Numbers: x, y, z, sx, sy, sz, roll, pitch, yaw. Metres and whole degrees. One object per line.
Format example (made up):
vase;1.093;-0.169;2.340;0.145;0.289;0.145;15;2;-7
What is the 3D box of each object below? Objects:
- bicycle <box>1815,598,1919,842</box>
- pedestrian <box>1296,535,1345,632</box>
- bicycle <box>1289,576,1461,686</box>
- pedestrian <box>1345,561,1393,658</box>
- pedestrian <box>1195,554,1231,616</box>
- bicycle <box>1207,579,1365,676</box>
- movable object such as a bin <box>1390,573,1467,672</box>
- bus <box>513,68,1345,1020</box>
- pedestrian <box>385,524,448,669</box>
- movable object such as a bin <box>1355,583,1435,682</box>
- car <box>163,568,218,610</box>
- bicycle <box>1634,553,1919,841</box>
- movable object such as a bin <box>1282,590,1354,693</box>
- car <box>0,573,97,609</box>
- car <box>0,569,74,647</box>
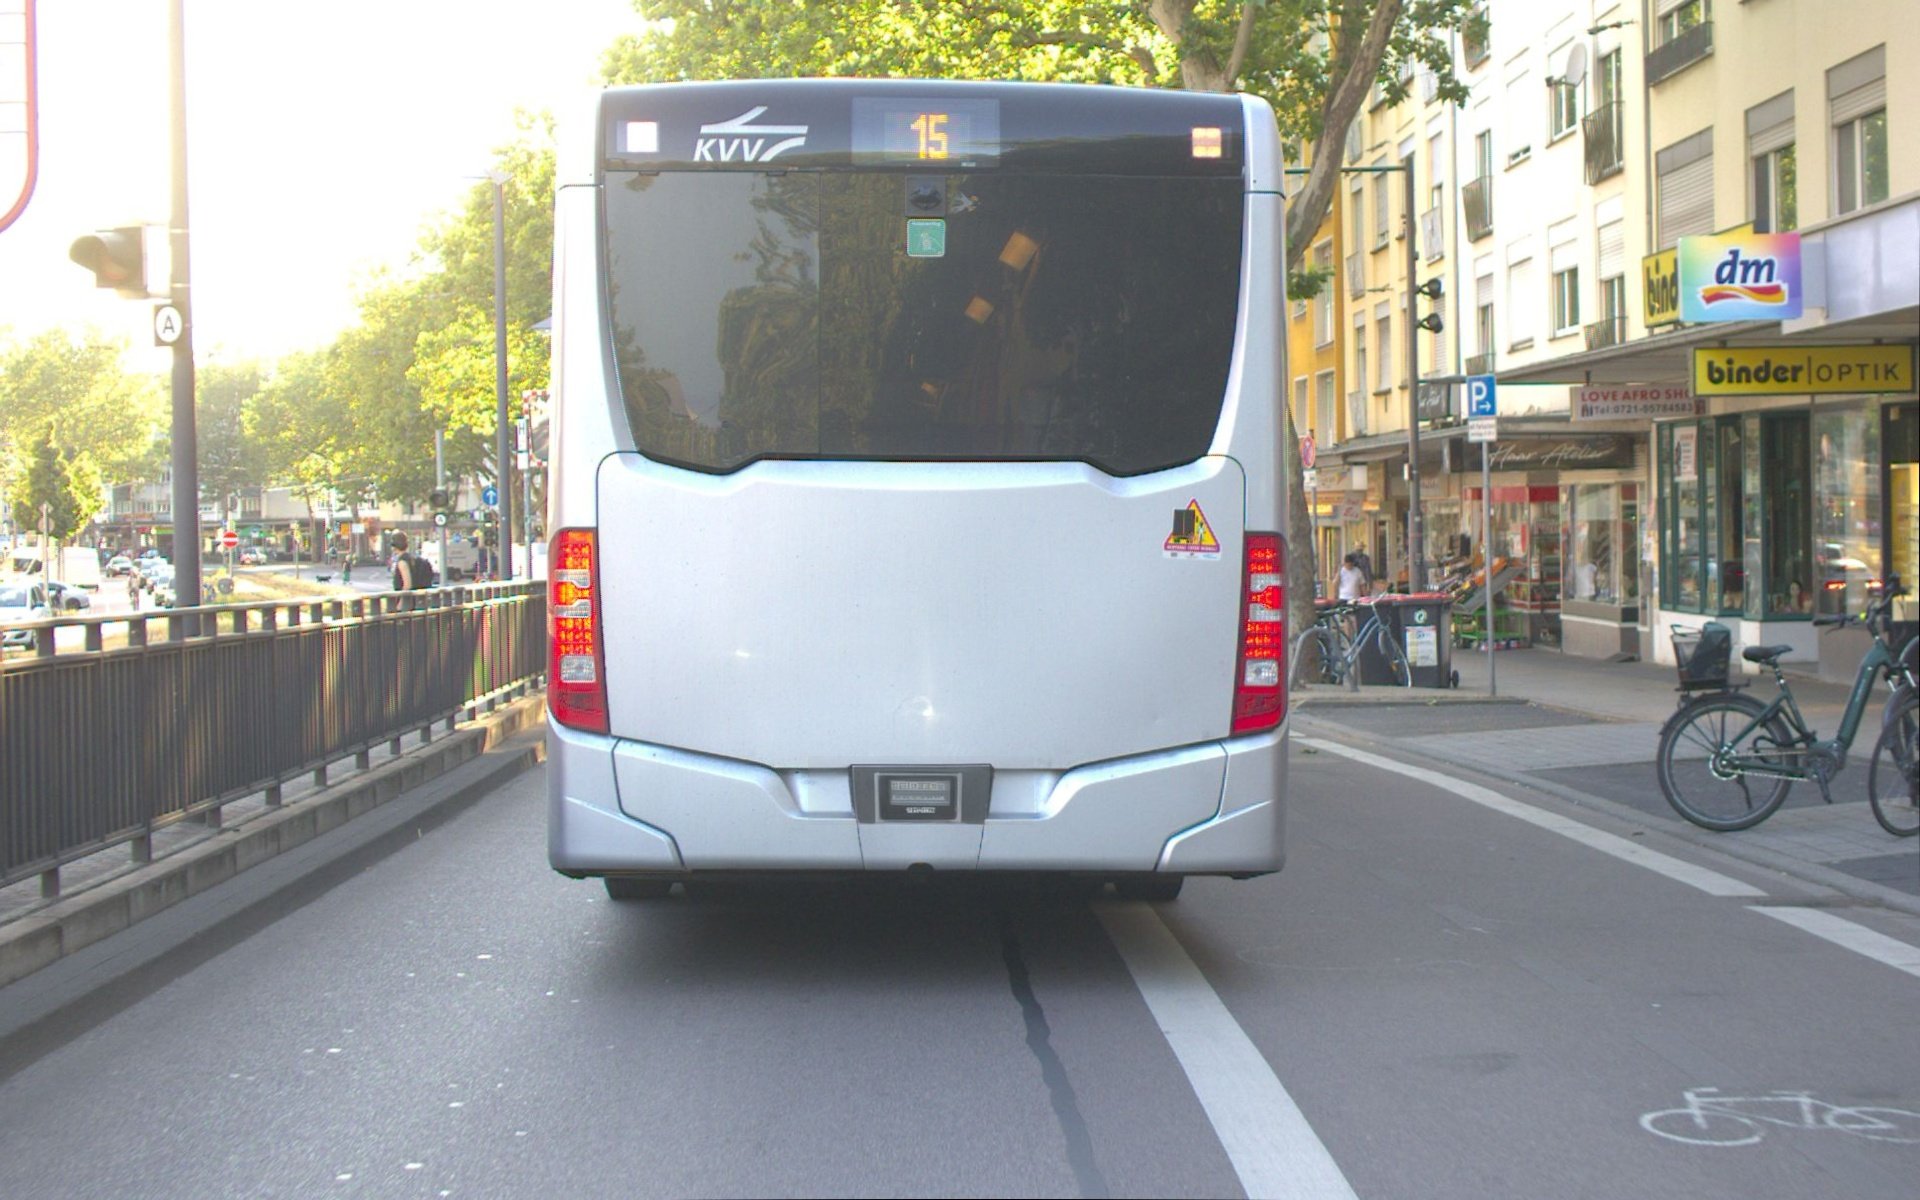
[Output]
bicycle;5.198;0.516;17.043;1.787;1.121;0.664;-6;1;-28
pedestrian;6.032;-0.285;57.560;0.635;1.581;0.627;-3;1;-3
bicycle;4.456;0.338;36.981;1.717;1.114;0.745;-1;-3;-1
pedestrian;6.852;0.149;57.622;0.622;1.581;0.627;-3;1;-3
pedestrian;5.283;-0.312;71.761;0.583;1.270;0.759;1;0;-8
bicycle;4.075;0.344;43.025;1.907;1.101;0.518;-3;1;5
movable object such as a bin;5.268;0.253;38.631;0.723;1.068;0.643;-3;0;17
bus;-0.305;-0.253;14.791;2.677;3.073;7.115;-1;1;-3
pedestrian;-7.014;-0.047;44.369;0.741;1.842;0.590;-1;1;-7
movable object such as a bin;4.935;0.364;39.034;0.722;1.068;0.644;-4;0;-3
car;-30.086;-0.440;134.552;1.722;1.504;3.477;-4;1;-8
bicycle;4.472;0.479;17.802;1.787;1.307;0.693;-6;1;11
movable object such as a bin;4.051;0.467;38.938;0.722;1.098;0.644;-5;0;5
car;-37.874;-0.367;140.674;4.540;1.407;1.999;-2;1;-45
car;-22.241;0.183;80.541;1.993;1.711;4.437;-1;1;-3
